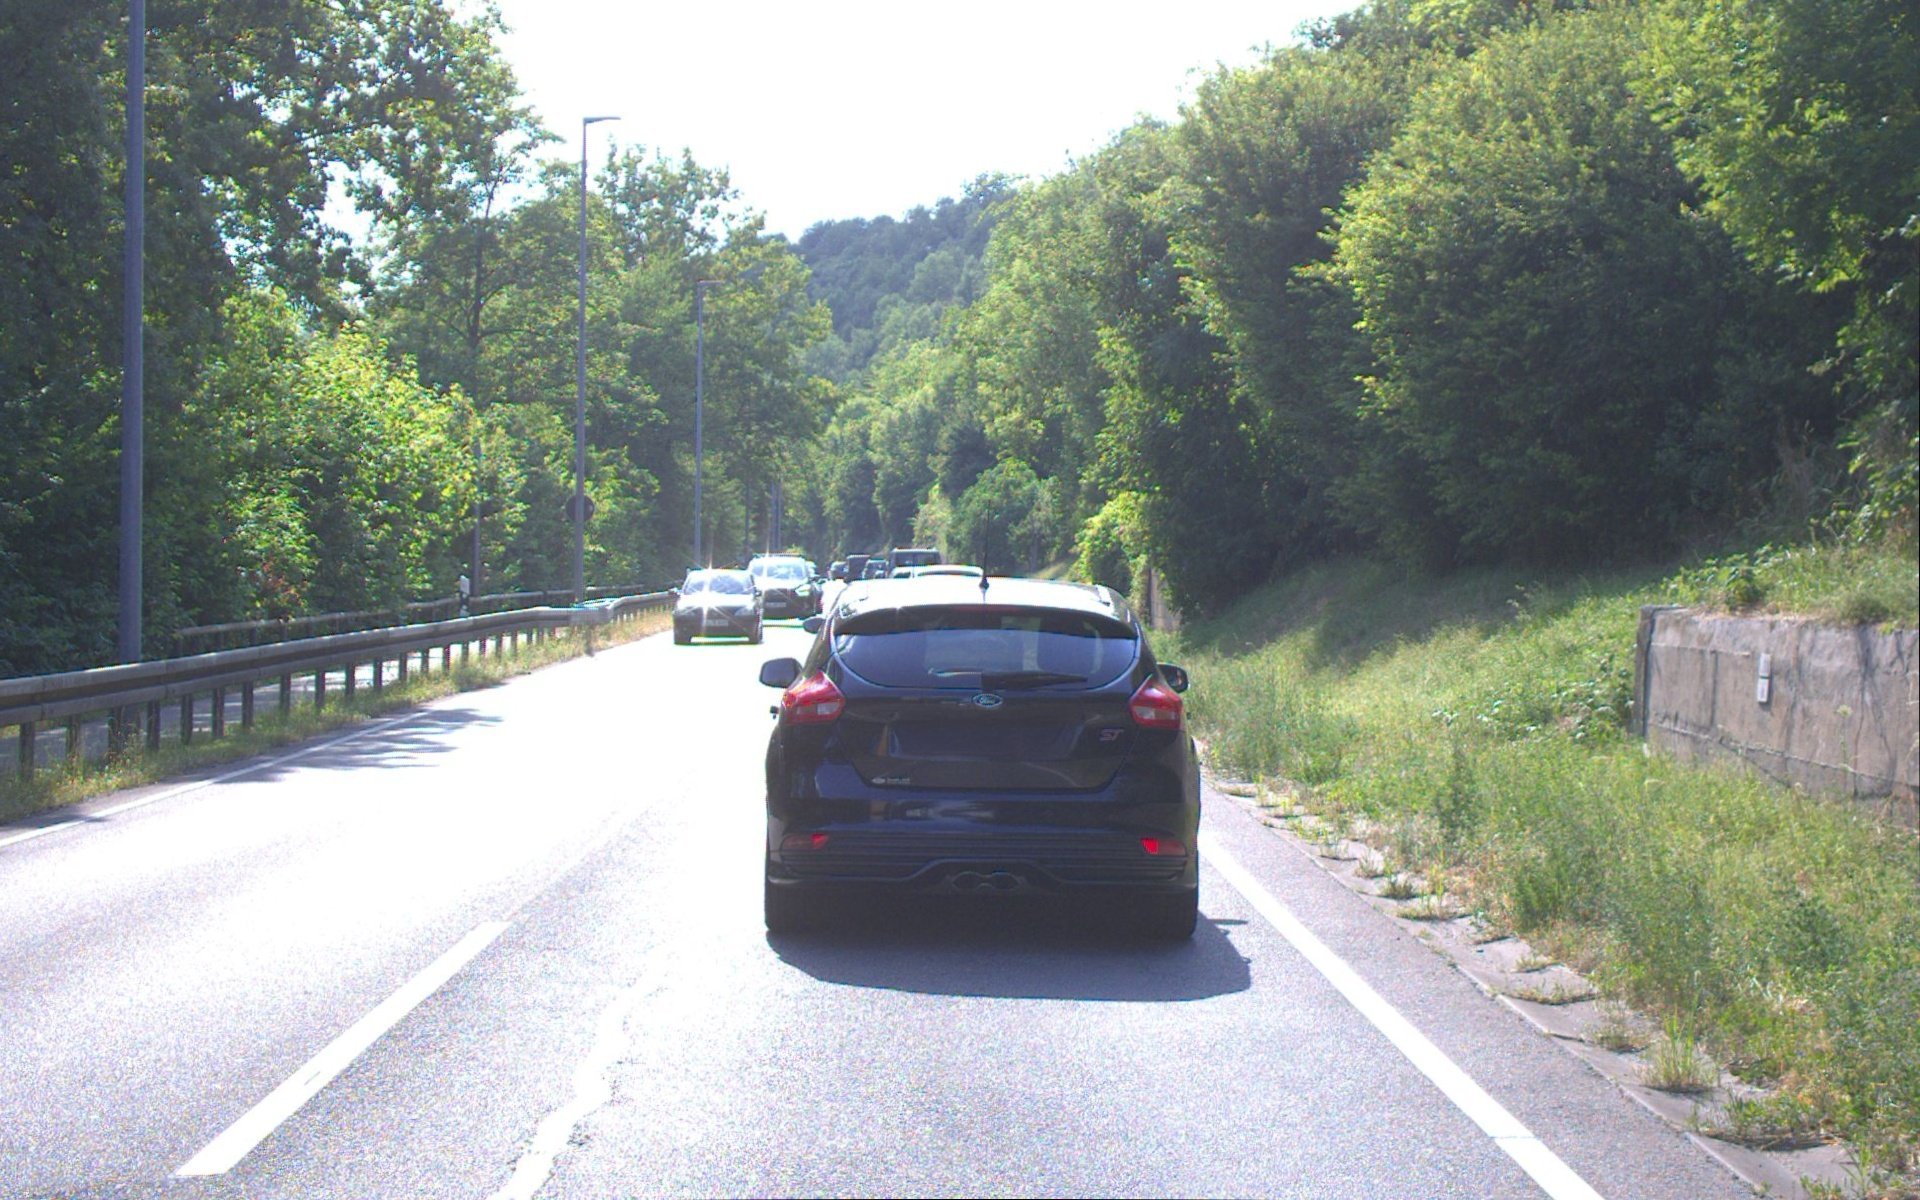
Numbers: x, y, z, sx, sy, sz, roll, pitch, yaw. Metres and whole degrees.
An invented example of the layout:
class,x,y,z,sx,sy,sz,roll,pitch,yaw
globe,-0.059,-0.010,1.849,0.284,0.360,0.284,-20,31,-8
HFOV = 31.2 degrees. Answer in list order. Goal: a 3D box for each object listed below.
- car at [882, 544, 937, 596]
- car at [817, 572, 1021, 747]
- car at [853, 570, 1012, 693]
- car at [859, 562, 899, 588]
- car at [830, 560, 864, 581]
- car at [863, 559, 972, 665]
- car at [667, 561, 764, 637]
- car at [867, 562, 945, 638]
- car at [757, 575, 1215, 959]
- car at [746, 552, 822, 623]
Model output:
class,x,y,z,sx,sy,sz,roll,pitch,yaw
car,-1.733,-1.041,118.120,1.863,1.774,4.000,0,1,-1
car,-0.305,0.472,30.123,1.661,1.413,4.000,0,1,1
car,-0.326,0.341,41.101,1.804,1.387,4.000,0,1,-1
car,-4.956,-1.538,210.073,1.993,1.514,4.001,0,1,-8
car,-7.993,-2.098,243.608,1.993,1.514,4.001,0,1,-8
car,-0.662,0.152,53.794,1.631,1.590,4.000,0,1,-1
car,-4.824,-0.042,68.263,1.681,1.437,4.000,0,1,-1
car,-1.147,-0.020,73.818,1.631,1.590,4.000,0,1,-1
car,0.082,0.630,15.233,1.739,1.451,4.000,1,0,-1
car,-4.334,-0.318,84.986,1.748,1.712,4.221,0,1,-1
